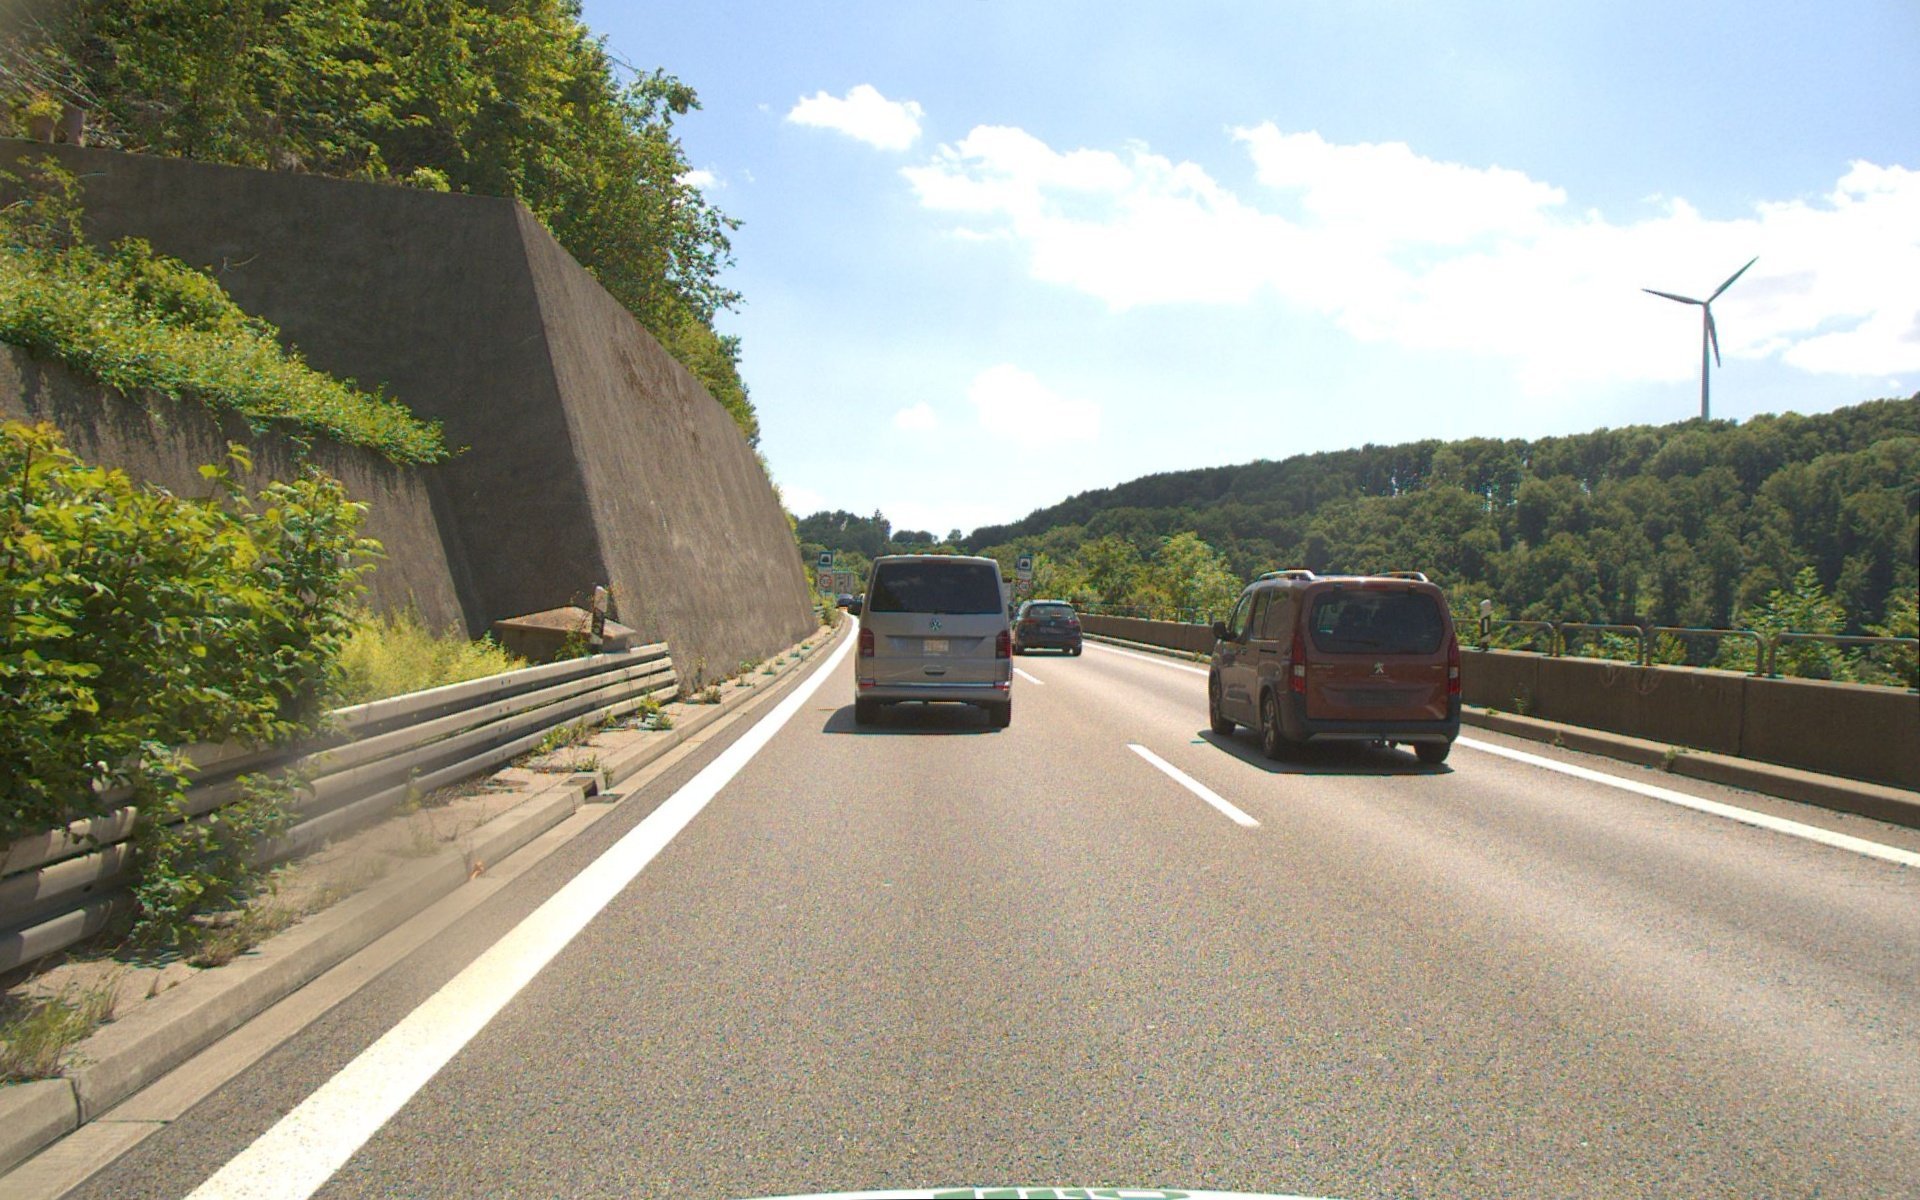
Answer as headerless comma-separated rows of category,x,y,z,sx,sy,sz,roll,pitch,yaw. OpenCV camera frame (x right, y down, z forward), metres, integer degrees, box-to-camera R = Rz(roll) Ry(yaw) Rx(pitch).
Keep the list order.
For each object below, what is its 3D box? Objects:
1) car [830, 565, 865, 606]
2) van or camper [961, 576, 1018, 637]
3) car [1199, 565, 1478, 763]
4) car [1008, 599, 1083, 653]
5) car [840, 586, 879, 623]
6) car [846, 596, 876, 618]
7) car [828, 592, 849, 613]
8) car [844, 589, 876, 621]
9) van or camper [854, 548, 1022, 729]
car,-14.273,-1.834,209.738,3.966,4.956,10.095,1,0,-6
van or camper,1.293,0.268,74.178,2.219,2.596,4.733,-1,0,-3
car,3.834,0.604,17.618,1.796,1.815,4.674,0,0,-1
car,2.281,0.684,45.040,1.733,1.400,3.591,1,0,-2
car,-5.288,0.228,86.569,1.954,1.849,3.996,1,0,-5
car,-7.552,0.498,125.448,2.101,1.635,5.072,0,0,-5
car,-12.211,0.307,166.126,1.953,2.049,3.998,-1,0,-2
car,-6.373,0.293,105.336,1.954,1.948,3.997,1,0,-3
van or camper,-0.288,0.438,20.576,1.837,1.983,4.292,1,0,-1
